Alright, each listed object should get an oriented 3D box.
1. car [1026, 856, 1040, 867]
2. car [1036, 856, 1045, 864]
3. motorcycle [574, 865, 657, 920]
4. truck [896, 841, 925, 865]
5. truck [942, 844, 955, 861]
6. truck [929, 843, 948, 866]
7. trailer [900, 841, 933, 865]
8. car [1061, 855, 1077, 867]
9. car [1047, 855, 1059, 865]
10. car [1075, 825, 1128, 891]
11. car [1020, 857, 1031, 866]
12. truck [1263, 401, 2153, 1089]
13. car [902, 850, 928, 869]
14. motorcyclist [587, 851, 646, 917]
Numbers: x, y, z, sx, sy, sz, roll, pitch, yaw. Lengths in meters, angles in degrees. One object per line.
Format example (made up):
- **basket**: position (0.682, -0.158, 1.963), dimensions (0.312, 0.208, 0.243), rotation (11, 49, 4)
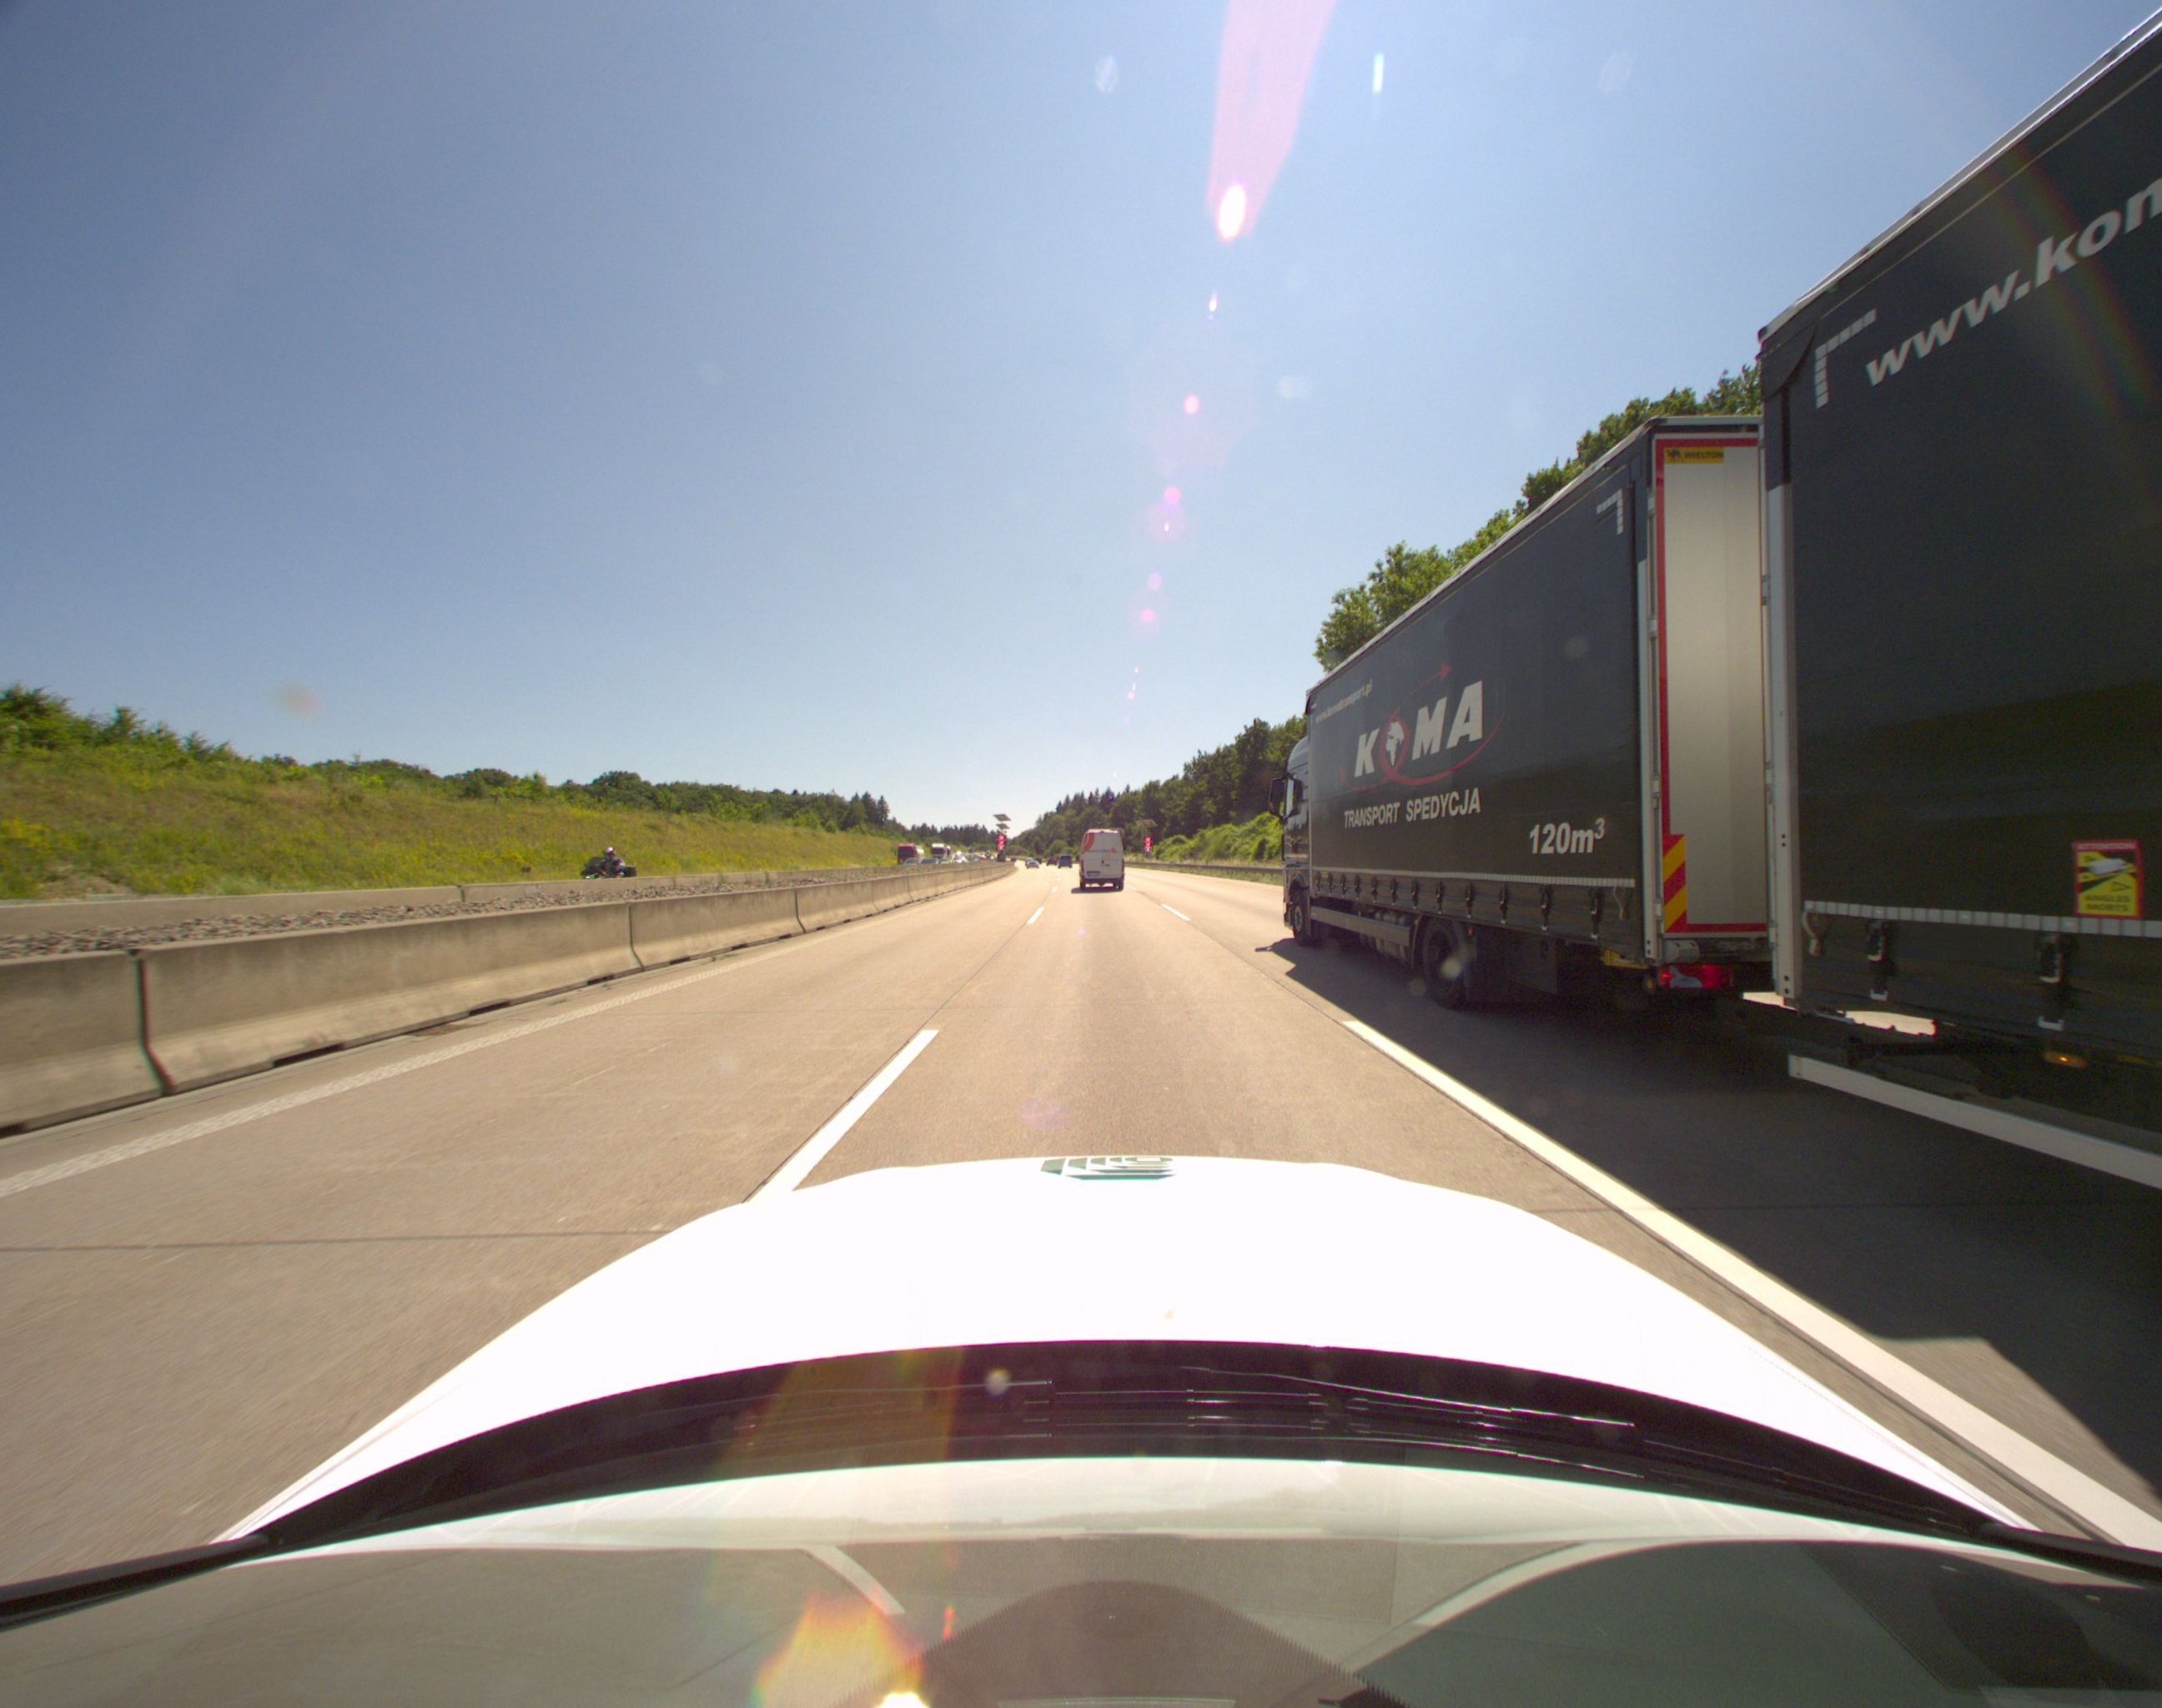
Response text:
- **car**: position (-7.150, 1.118, 120.401), dimensions (1.990, 1.684, 3.993), rotation (1, -1, -5)
- **car**: position (-9.270, 1.363, 187.230), dimensions (1.990, 1.684, 3.993), rotation (1, -1, -5)
- **motorcycle**: position (-12.646, 1.019, 22.233), dimensions (0.821, 1.372, 2.358), rotation (-1, 0, 2)
- **truck**: position (-23.460, -0.118, 112.218), dimensions (2.927, 3.215, 5.898), rotation (1, -1, -3)
- **truck**: position (-34.489, -0.389, 212.216), dimensions (2.930, 4.169, 6.216), rotation (1, -1, -6)
- **truck**: position (-27.035, 0.083, 154.991), dimensions (2.928, 4.169, 5.750), rotation (1, -1, -5)
- **trailer**: position (-23.797, -0.071, 118.613), dimensions (2.927, 3.215, 11.817), rotation (1, -1, -3)
- **car**: position (-1.788, 0.988, 117.087), dimensions (1.990, 1.684, 3.993), rotation (1, -1, -5)
- **car**: position (-5.268, 1.127, 151.246), dimensions (1.990, 1.684, 3.993), rotation (1, -1, -5)
- **car**: position (0.880, 0.151, 38.115), dimensions (2.220, 2.844, 5.452), rotation (-1, 0, -1)
- **car**: position (-10.826, 1.450, 158.821), dimensions (1.990, 1.684, 3.993), rotation (1, -1, -5)
- **truck**: position (4.861, -0.623, 10.113), dimensions (3.147, 4.017, 10.612), rotation (-1, 0, 2)
- **car**: position (-16.967, 0.548, 83.462), dimensions (1.989, 1.772, 3.996), rotation (-2, 0, -3)
- **motorcyclist**: position (-12.655, 0.793, 22.232), dimensions (0.690, 1.709, 1.525), rotation (-1, 0, 2)
